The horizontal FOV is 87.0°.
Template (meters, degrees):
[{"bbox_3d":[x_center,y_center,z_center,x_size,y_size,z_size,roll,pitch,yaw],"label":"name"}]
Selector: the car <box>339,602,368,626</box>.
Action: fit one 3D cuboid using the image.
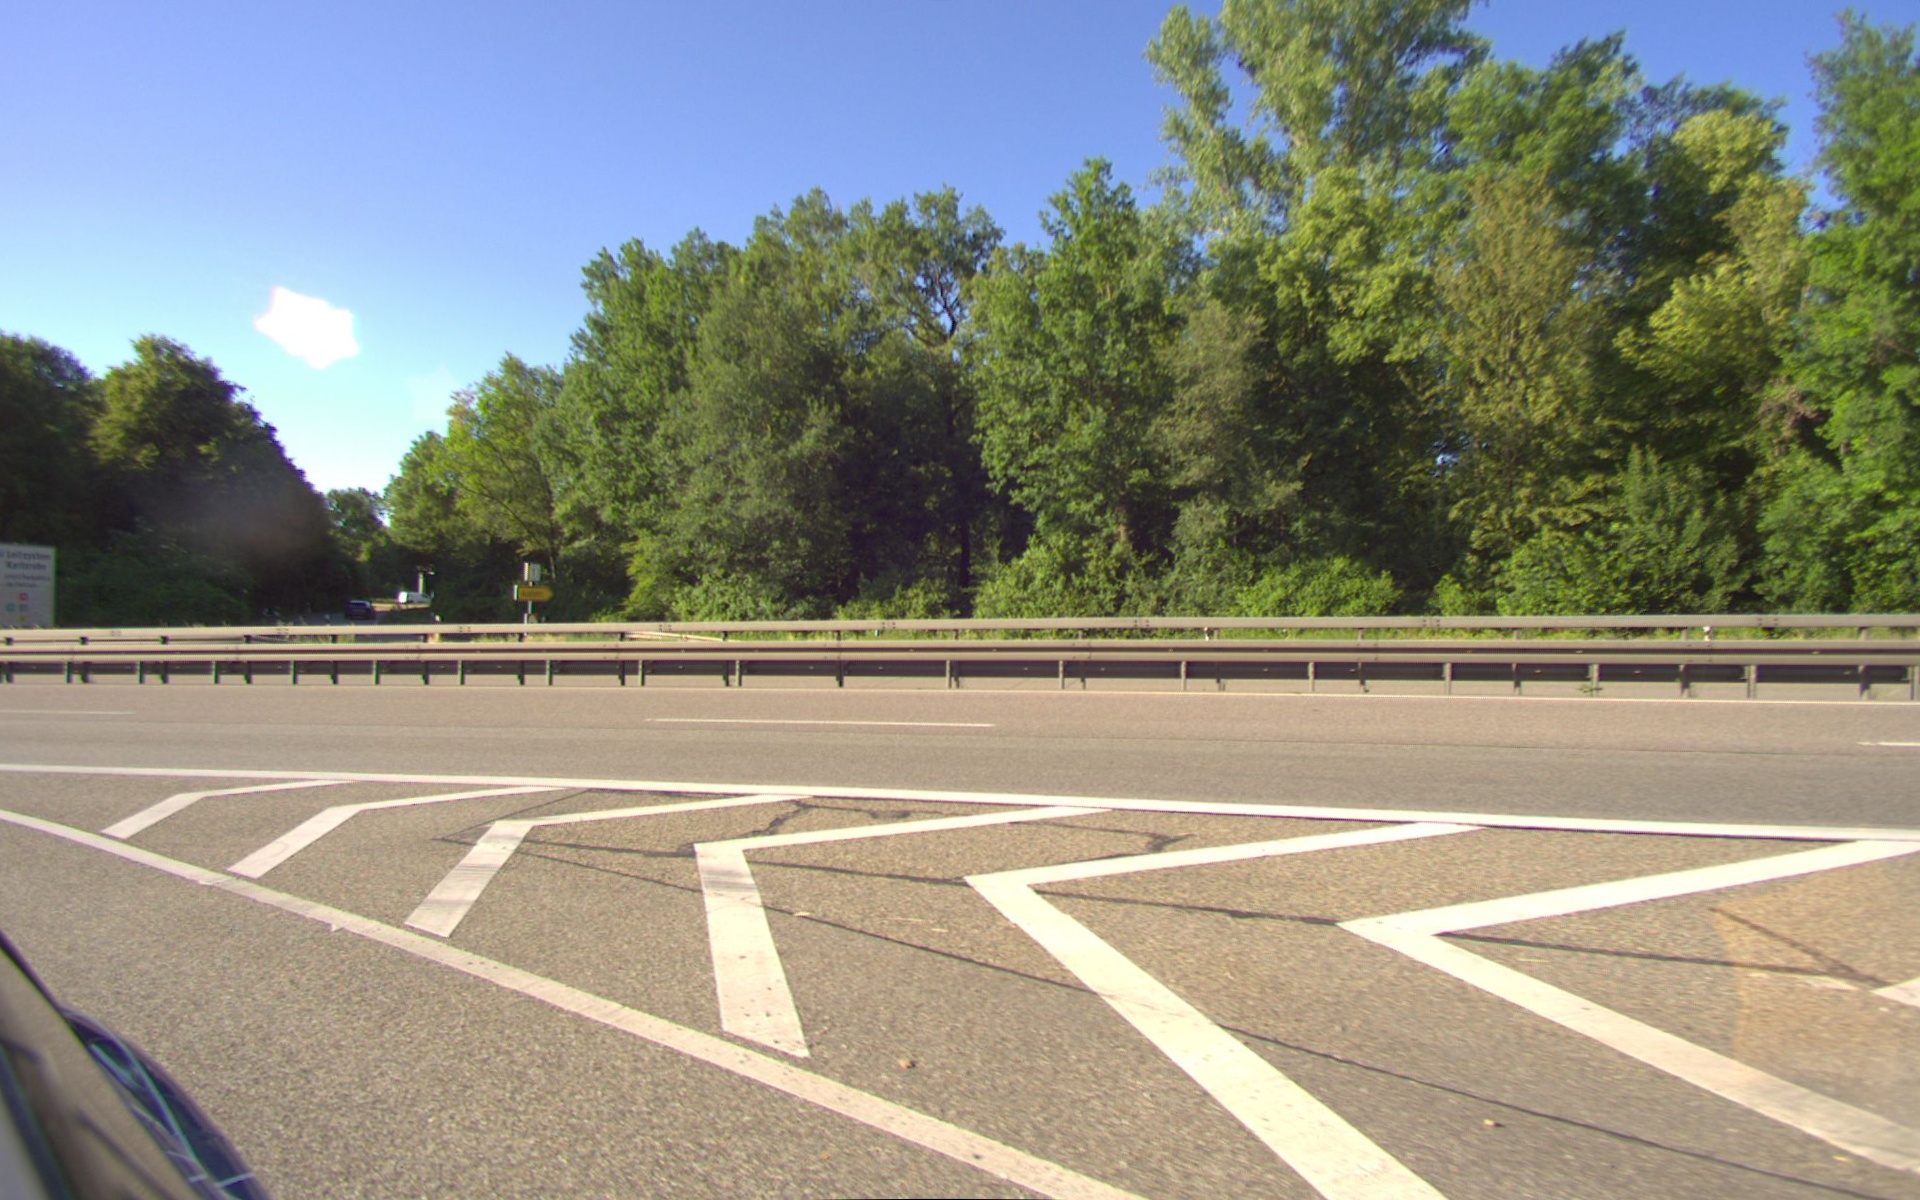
[{"bbox_3d":[-49.992,1.106,83.434,1.966,1.874,4.679,0,0,-31],"label":"car"}]
